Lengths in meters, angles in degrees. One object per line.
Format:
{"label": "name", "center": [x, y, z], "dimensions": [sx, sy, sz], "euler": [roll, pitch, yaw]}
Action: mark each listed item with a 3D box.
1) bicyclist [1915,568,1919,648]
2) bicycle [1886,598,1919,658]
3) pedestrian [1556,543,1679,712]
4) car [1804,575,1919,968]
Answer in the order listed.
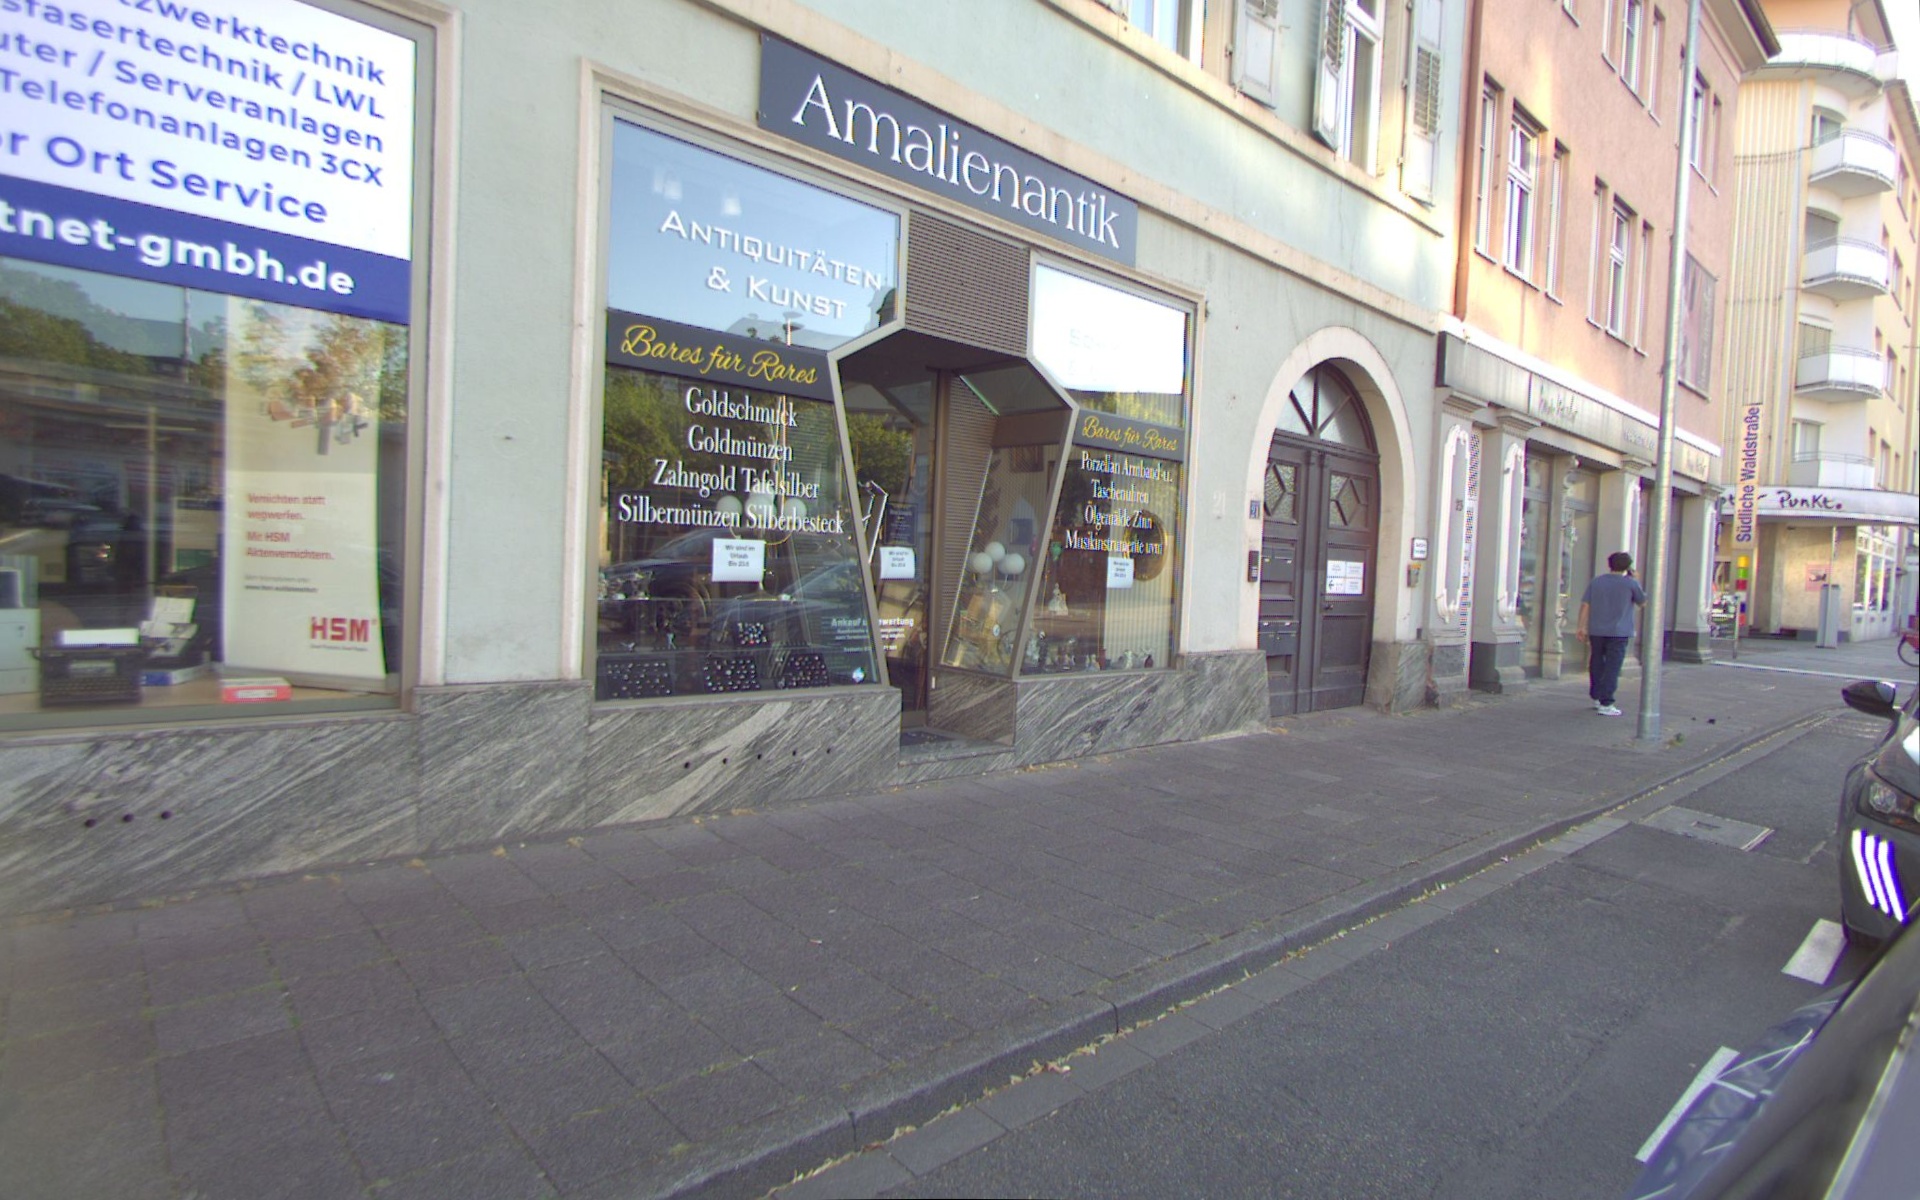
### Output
{"label": "bicyclist", "center": [20.177, 0.077, 20.595], "dimensions": [0.815, 1.848, 0.837], "euler": [1, 2, -34]}
{"label": "bicycle", "center": [20.174, 0.614, 20.557], "dimensions": [0.778, 1.200, 1.828], "euler": [1, 3, -32]}
{"label": "pedestrian", "center": [6.869, 0.256, 10.574], "dimensions": [0.857, 1.662, 0.824], "euler": [1, 2, -43]}
{"label": "car", "center": [5.659, 0.681, 4.745], "dimensions": [4.372, 1.464, 1.907], "euler": [0, 2, -41]}
